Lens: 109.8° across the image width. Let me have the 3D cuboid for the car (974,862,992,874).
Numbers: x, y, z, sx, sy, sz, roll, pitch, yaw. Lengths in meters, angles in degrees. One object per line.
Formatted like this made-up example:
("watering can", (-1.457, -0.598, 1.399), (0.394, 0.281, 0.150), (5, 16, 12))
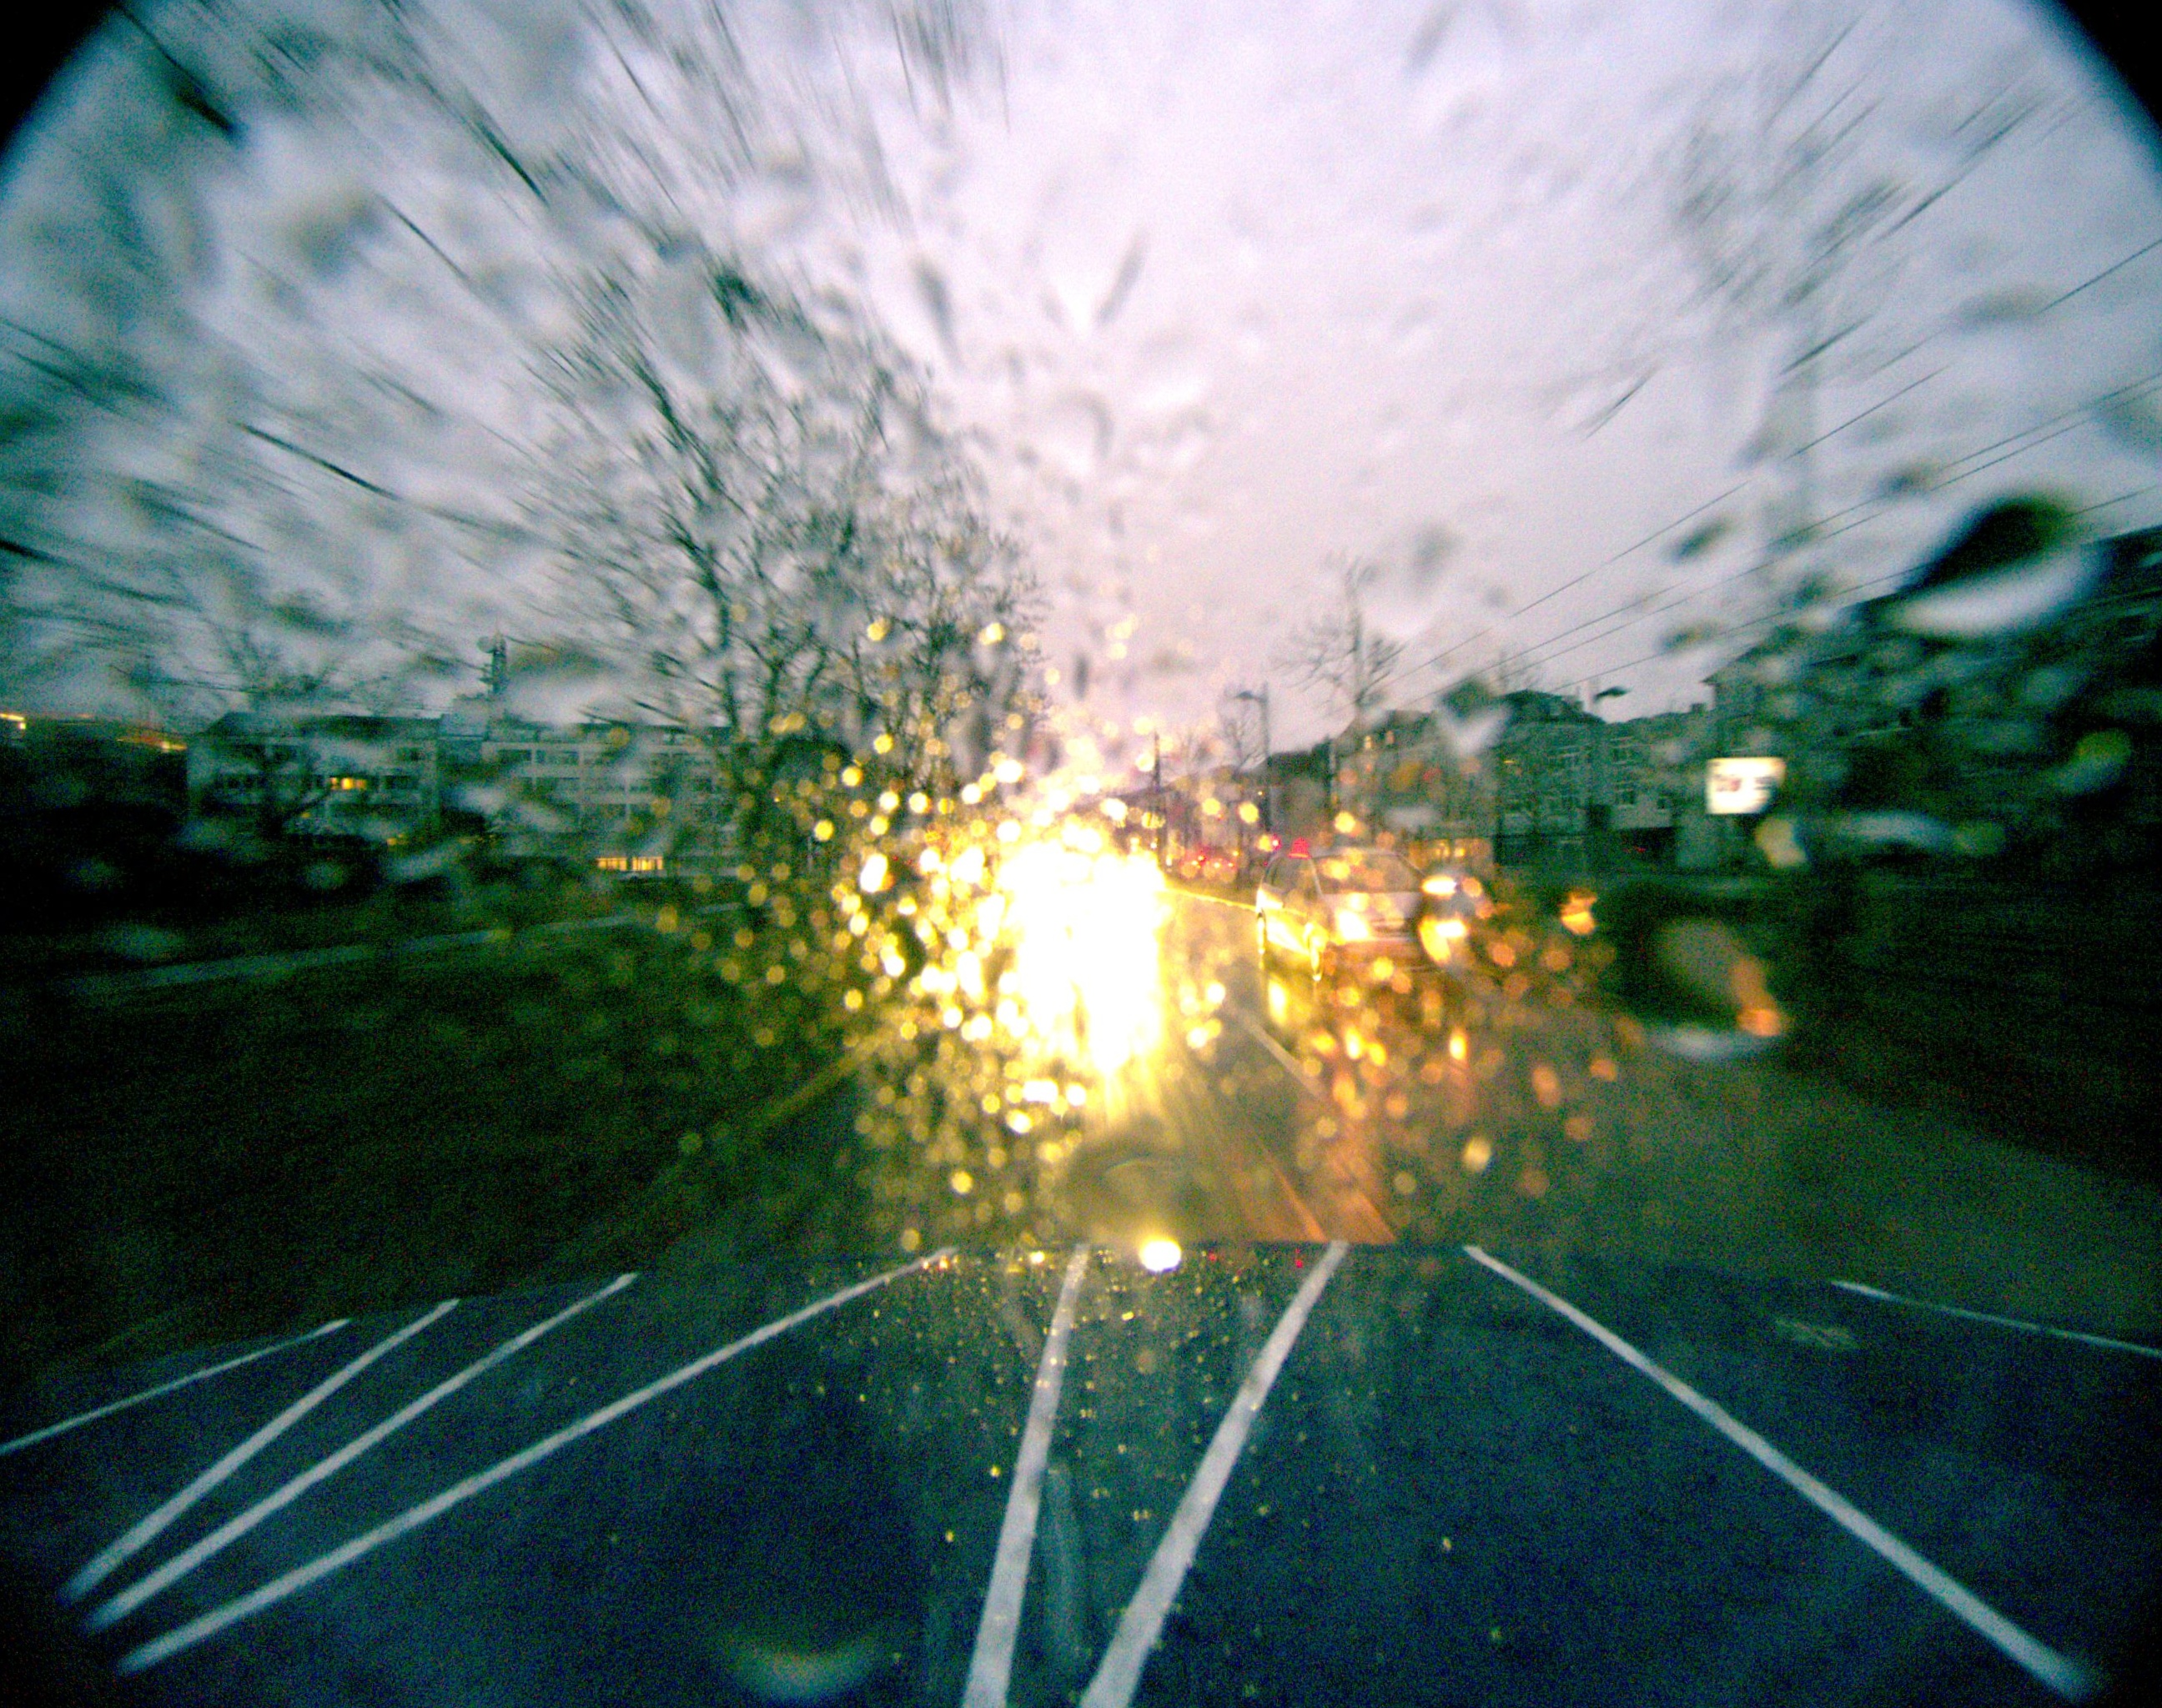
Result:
("car", (-13.558, 1.923, 104.831), (1.952, 1.546, 4.212), (-3, 0, -15))

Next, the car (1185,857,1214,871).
("car", (12.378, 1.040, 79.622), (1.898, 1.347, 4.286), (-1, 0, -8))

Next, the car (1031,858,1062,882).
("car", (-2.535, 1.108, 54.341), (1.950, 1.546, 4.215), (-3, 0, -5))

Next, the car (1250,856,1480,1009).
("car", (3.402, 0.831, 9.904), (1.669, 1.566, 3.923), (-1, 0, 3))

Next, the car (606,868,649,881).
("car", (-55.566, 2.486, 93.178), (4.168, 1.430, 1.901), (-1, 0, -19))

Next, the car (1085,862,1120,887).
("car", (1.448, 1.417, 53.014), (1.845, 1.546, 4.215), (-3, 0, -6))

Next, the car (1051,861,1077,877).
("car", (-1.571, 1.359, 69.731), (1.898, 1.347, 4.286), (-1, 0, -8))

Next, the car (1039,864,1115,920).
("car", (-0.115, 0.979, 21.329), (1.897, 1.347, 4.289), (-1, 0, -1))

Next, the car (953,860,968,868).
("car", (-20.525, 1.661, 129.187), (2.001, 1.315, 3.994), (-1, 0, -16))

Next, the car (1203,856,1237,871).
("car", (13.356, 0.905, 73.359), (1.898, 1.347, 4.286), (-1, 0, -9))

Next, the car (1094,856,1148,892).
("car", (1.865, 0.920, 36.864), (1.925, 1.546, 4.215), (-3, 0, -6))

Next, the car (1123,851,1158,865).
("car", (8.271, 0.594, 106.356), (4.671, 1.846, 2.327), (-1, 0, 0))
